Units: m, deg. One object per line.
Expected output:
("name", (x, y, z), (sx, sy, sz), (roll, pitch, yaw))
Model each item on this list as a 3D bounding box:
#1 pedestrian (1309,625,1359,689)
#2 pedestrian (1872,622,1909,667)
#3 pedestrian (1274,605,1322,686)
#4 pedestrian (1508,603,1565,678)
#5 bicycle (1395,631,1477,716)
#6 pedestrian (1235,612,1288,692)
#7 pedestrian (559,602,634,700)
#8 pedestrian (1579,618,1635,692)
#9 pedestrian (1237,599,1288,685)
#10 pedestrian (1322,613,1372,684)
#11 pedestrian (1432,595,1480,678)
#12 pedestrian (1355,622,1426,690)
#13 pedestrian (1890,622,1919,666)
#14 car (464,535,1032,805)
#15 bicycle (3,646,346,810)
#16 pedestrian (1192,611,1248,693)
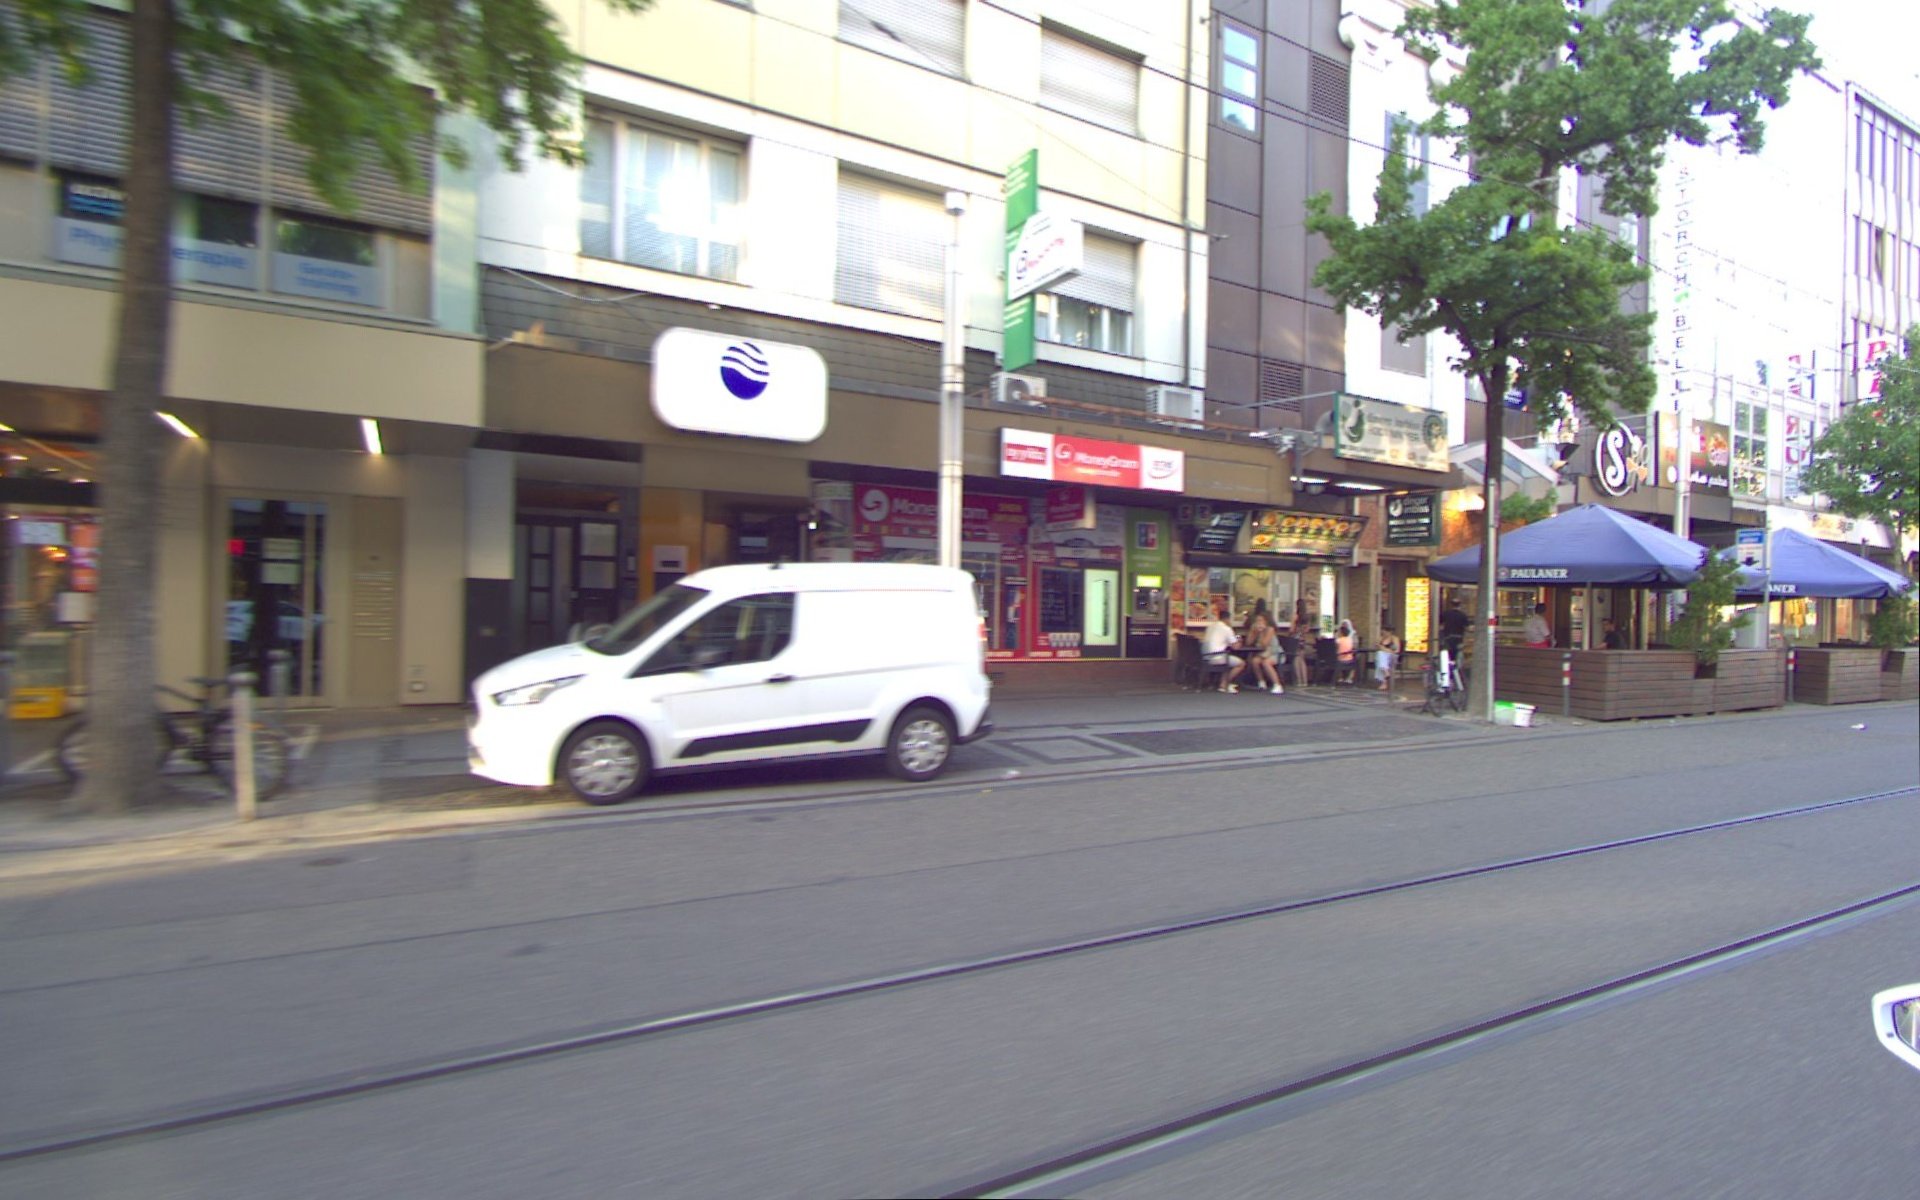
("pedestrian", (6.546, 0.994, 17.611), (0.649, 1.043, 0.454), (3, 2, 0))
("pedestrian", (28.777, 1.363, 31.062), (0.717, 1.337, 0.571), (2, 2, -30))
("pedestrian", (6.023, 0.808, 17.905), (0.596, 1.391, 0.442), (2, 2, -20))
("pedestrian", (10.303, 0.717, 17.958), (0.553, 1.273, 0.601), (2, 3, -28))
("bicycle", (7.223, 1.065, 15.190), (0.800, 1.118, 2.159), (1, 0, 34))
("pedestrian", (5.007, 0.854, 16.704), (0.580, 1.273, 0.519), (2, 3, -30))
("pedestrian", (-4.478, 0.612, 12.363), (0.721, 1.109, 0.774), (2, 2, -30))
("pedestrian", (11.617, 0.983, 18.048), (0.598, 1.273, 0.556), (2, 3, -29))
("pedestrian", (5.293, 0.730, 17.583), (0.505, 1.453, 0.607), (2, 3, -27))
("pedestrian", (7.218, 0.900, 18.736), (0.598, 1.274, 0.557), (2, 2, -26))
("pedestrian", (10.035, 0.729, 20.331), (0.553, 1.618, 0.601), (2, 2, -28))
("pedestrian", (7.715, 0.994, 18.037), (0.766, 1.135, 0.820), (2, 2, -20))
("pedestrian", (29.894, 1.398, 31.663), (0.717, 1.337, 0.571), (2, 2, -30))
("car", (-1.765, 0.528, 8.704), (4.460, 1.842, 1.786), (2, 1, -29))
("bicycle", (-5.661, 0.906, 7.307), (1.979, 1.082, 0.613), (1, 0, -1))
("pedestrian", (4.199, 0.835, 16.242), (0.653, 1.259, 0.509), (2, 3, -30))
